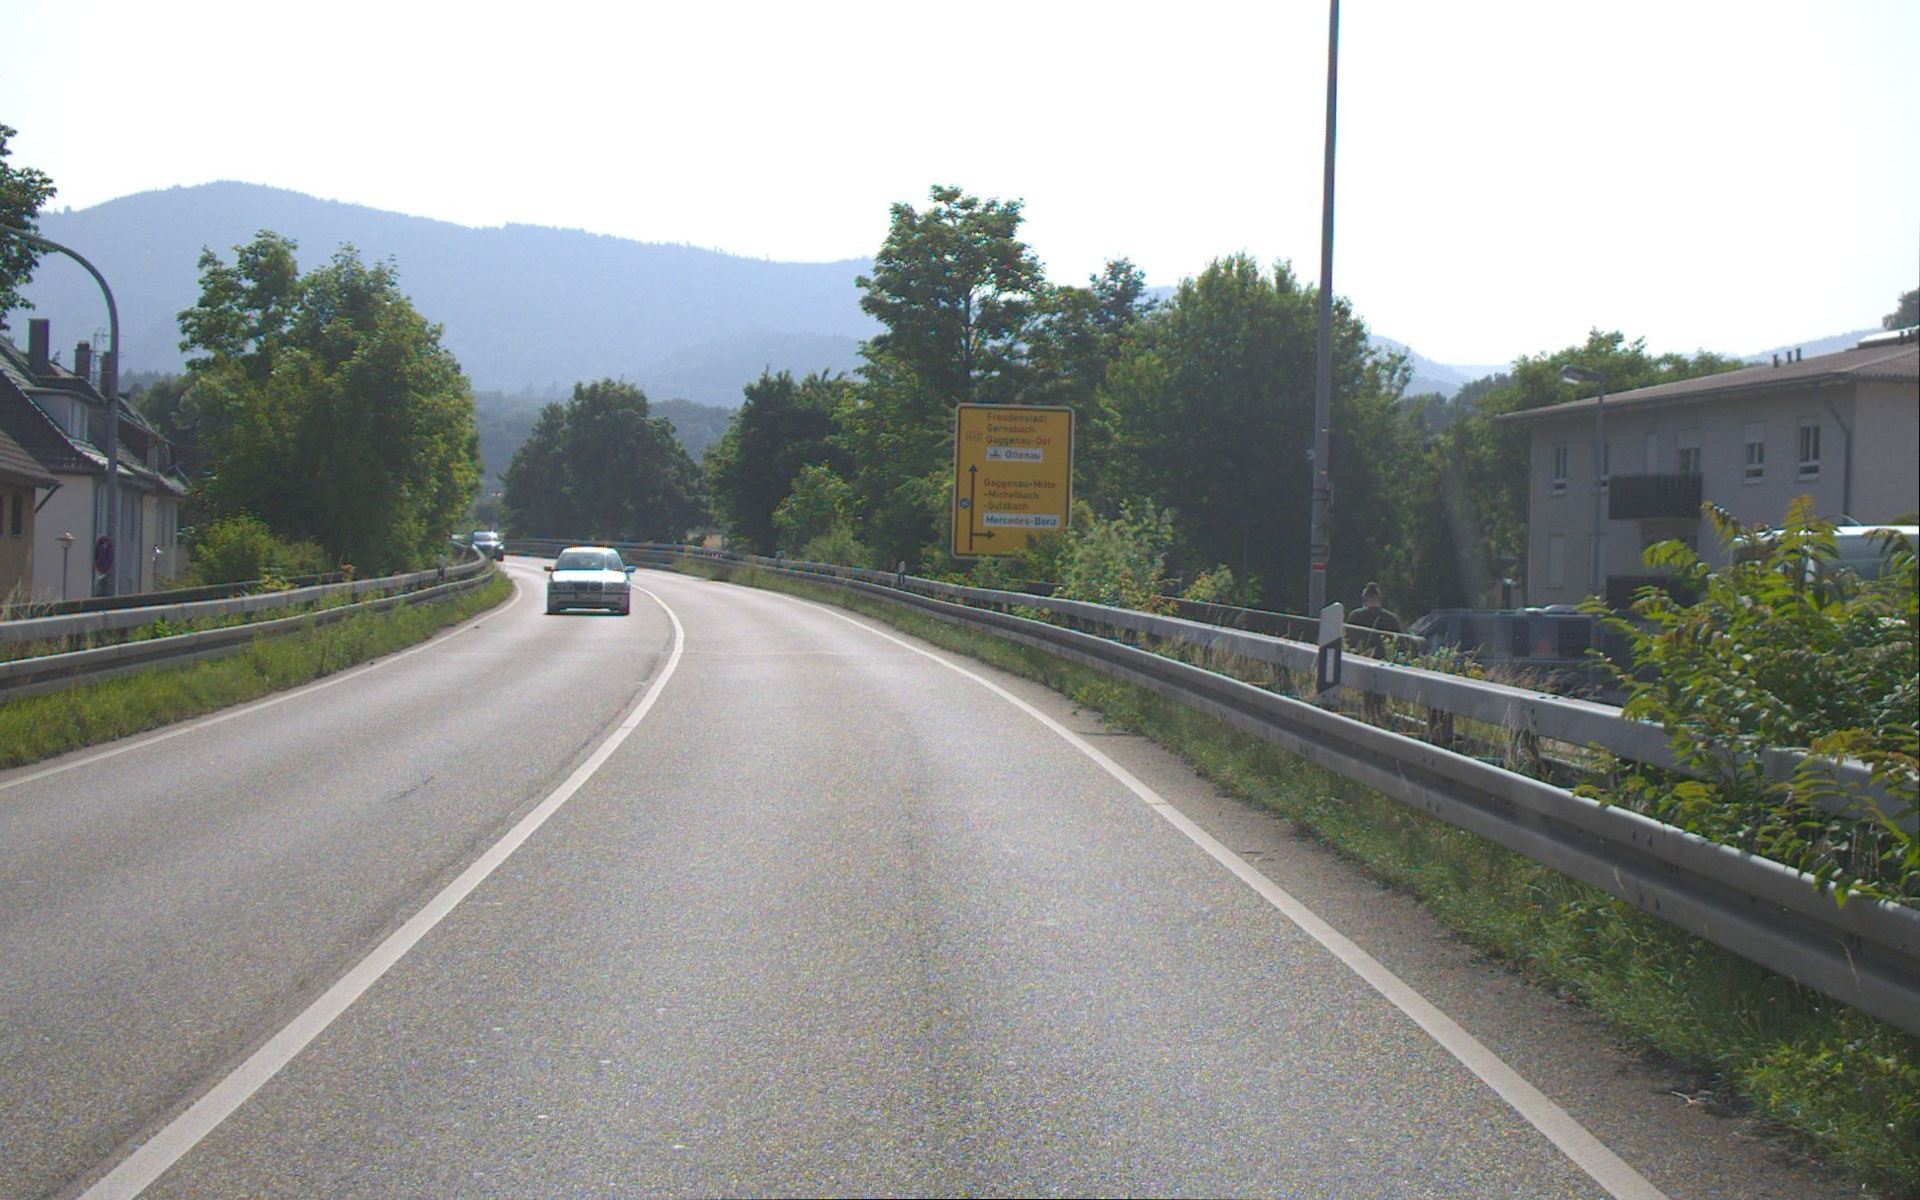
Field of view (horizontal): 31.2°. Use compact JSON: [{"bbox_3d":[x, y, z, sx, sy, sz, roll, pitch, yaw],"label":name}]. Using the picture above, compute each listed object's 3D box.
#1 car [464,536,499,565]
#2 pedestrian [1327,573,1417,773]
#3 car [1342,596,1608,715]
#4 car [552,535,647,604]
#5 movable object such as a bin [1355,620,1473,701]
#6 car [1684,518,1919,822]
[{"bbox_3d":[-26.307,-2.696,189.107,1.807,1.555,3.993,-1,1,-7],"label":"car"},{"bbox_3d":[4.233,0.735,35.368,0.788,2.007,0.997,1,1,0],"label":"pedestrian"},{"bbox_3d":[12.713,1.395,85.054,6.071,2.679,2.313,2,-3,-5],"label":"car"},{"bbox_3d":[-7.617,-0.658,72.918,1.758,1.406,3.990,-1,1,-3],"label":"car"},{"bbox_3d":[12.228,1.626,92.740,2.783,2.007,1.588,2,1,-5],"label":"movable object such as a bin"},{"bbox_3d":[6.672,0.401,24.629,1.993,1.938,5.361,1,1,2],"label":"car"}]
